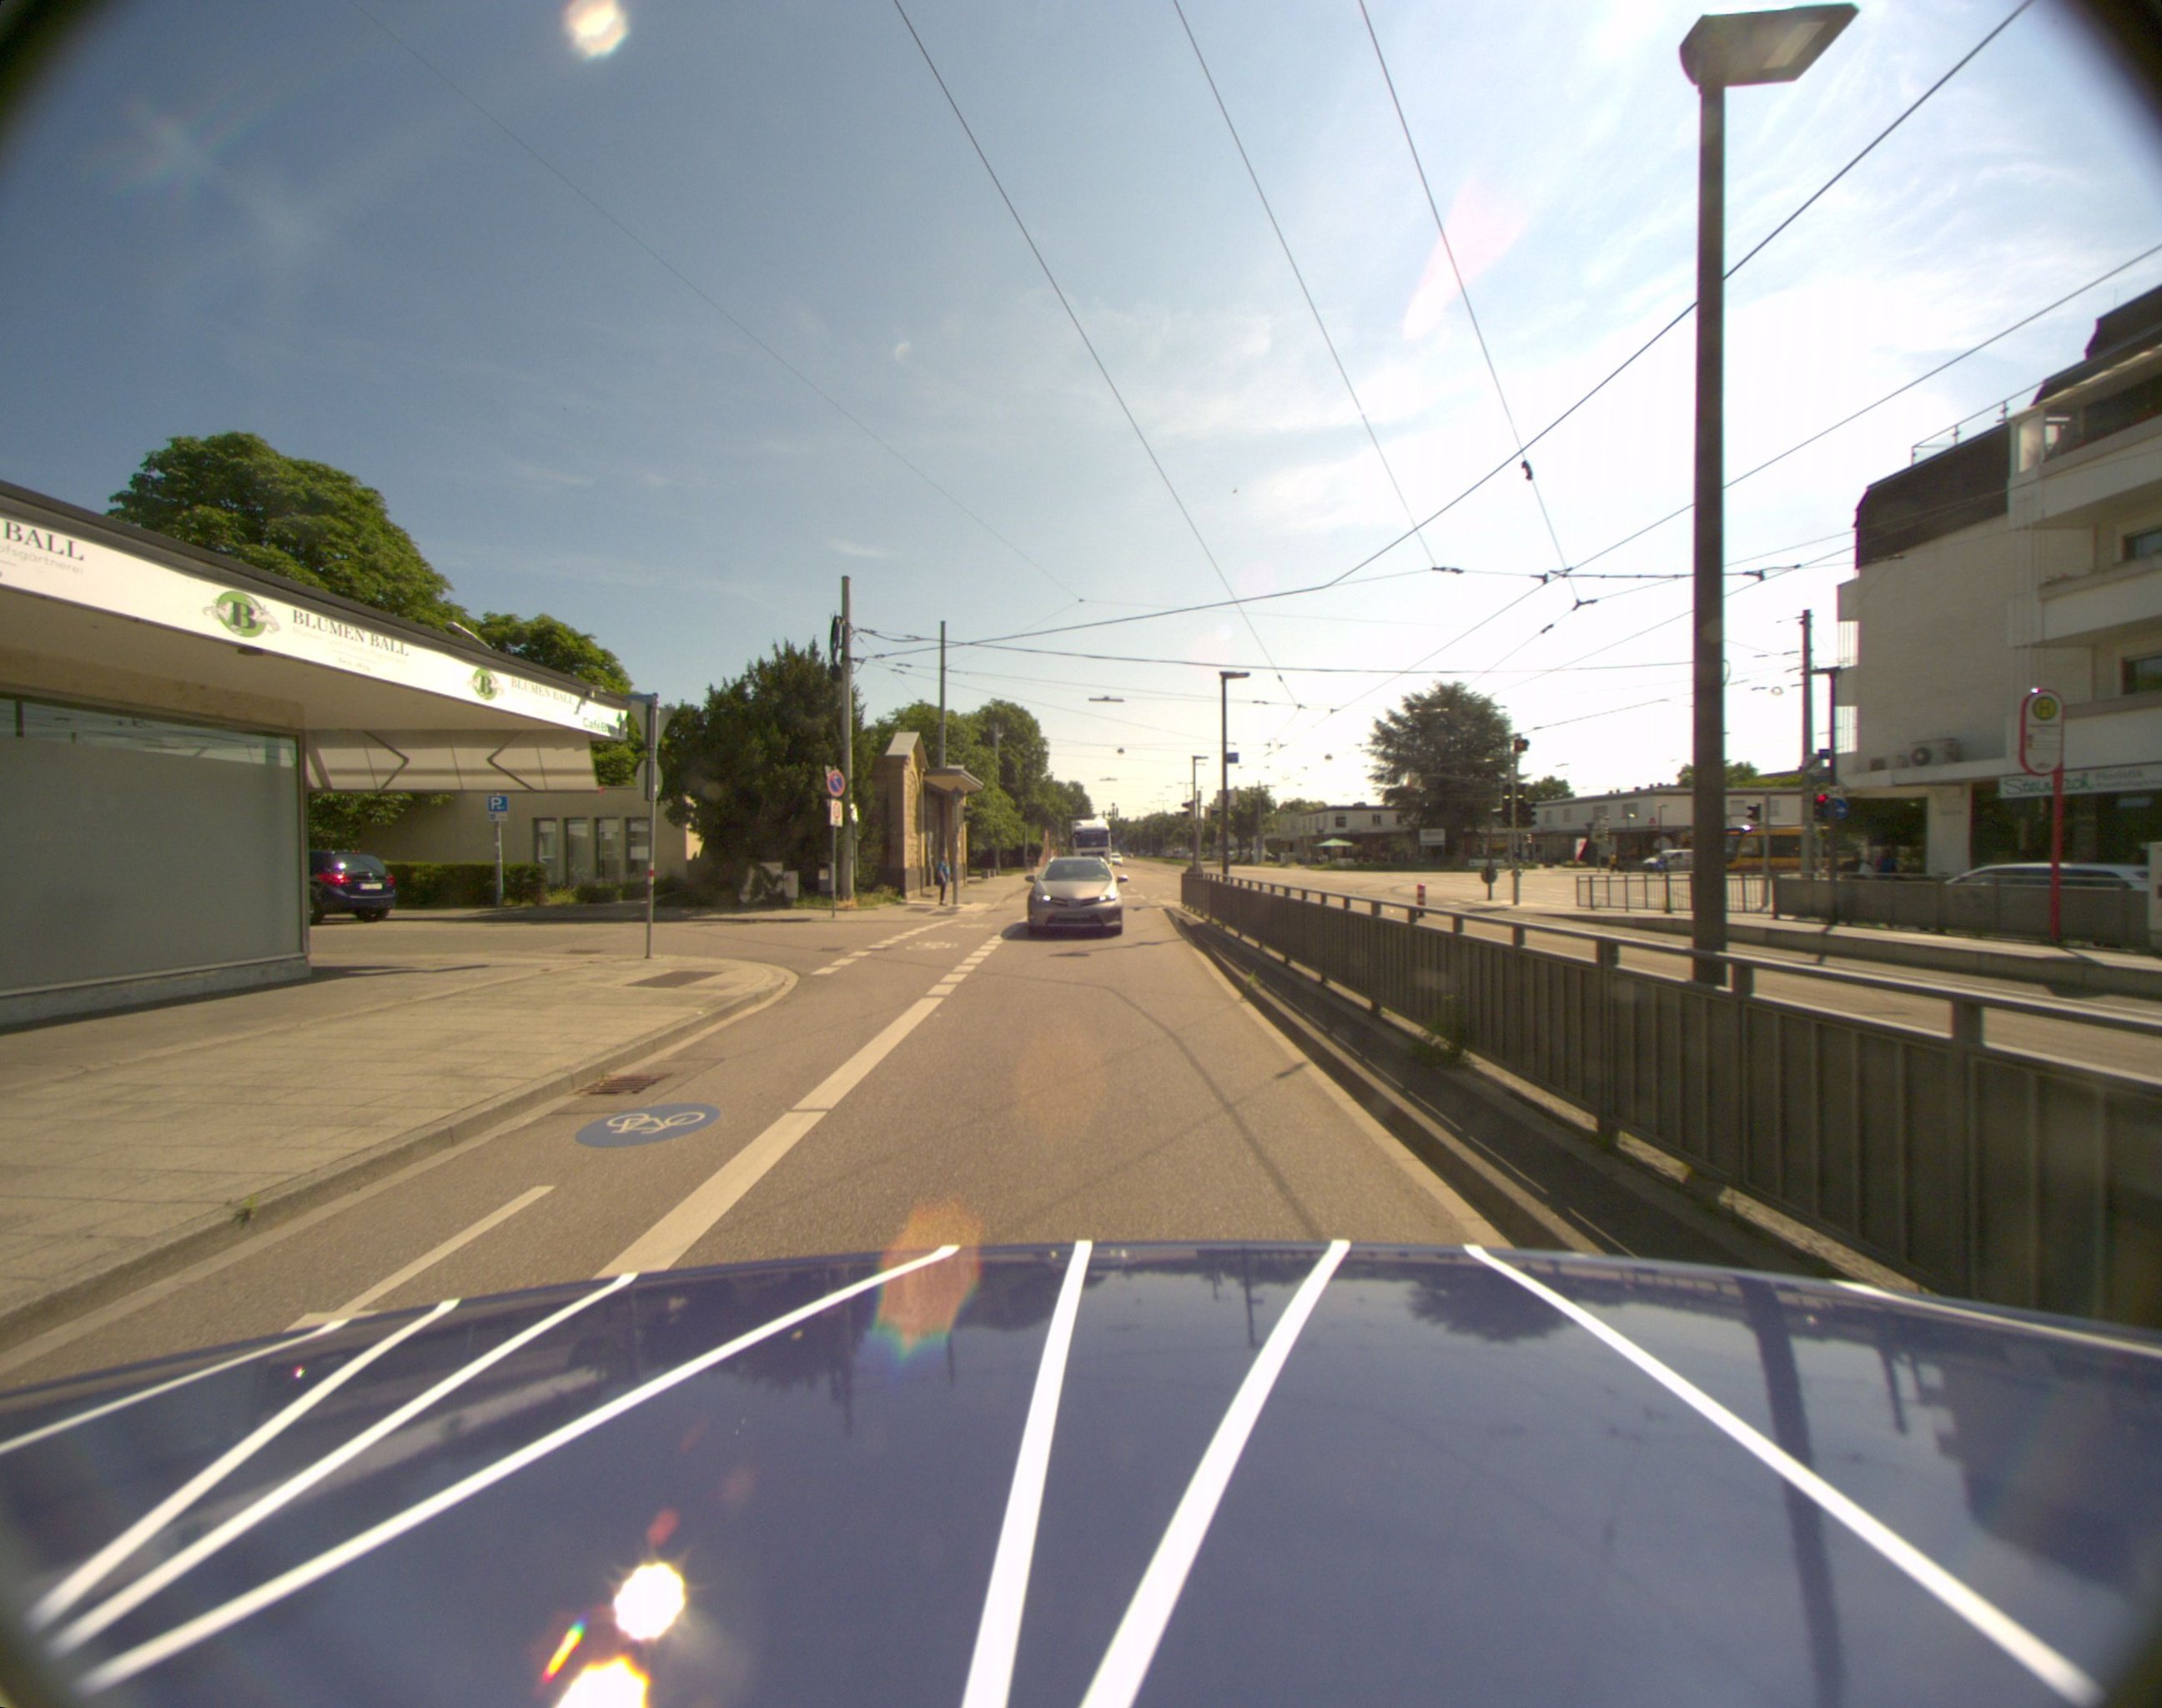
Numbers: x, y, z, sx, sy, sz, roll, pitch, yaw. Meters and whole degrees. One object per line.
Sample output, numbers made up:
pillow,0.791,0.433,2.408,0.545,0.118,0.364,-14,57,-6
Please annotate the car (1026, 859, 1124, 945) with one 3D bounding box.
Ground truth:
car,-0.071,0.847,15.365,1.695,1.440,4.481,0,0,1

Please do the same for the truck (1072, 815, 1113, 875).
truck,0.782,-0.588,52.281,2.657,3.772,7.863,0,0,1

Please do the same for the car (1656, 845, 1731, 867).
car,50.285,0.136,62.487,4.463,1.740,2.000,0,1,3

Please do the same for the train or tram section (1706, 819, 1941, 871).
train or tram section,51.686,-0.630,53.151,13.325,3.460,2.689,0,1,3

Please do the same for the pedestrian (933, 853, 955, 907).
pedestrian,-4.127,0.772,22.926,0.499,1.617,0.500,2,1,8

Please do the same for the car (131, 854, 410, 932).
car,-17.162,0.788,16.209,4.281,1.544,1.762,0,1,5

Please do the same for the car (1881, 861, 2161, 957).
car,16.219,0.802,12.544,1.716,1.236,4.078,-2,1,0

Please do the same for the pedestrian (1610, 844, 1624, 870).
pedestrian,39.437,0.198,55.948,0.608,1.892,0.606,-1,1,-24
